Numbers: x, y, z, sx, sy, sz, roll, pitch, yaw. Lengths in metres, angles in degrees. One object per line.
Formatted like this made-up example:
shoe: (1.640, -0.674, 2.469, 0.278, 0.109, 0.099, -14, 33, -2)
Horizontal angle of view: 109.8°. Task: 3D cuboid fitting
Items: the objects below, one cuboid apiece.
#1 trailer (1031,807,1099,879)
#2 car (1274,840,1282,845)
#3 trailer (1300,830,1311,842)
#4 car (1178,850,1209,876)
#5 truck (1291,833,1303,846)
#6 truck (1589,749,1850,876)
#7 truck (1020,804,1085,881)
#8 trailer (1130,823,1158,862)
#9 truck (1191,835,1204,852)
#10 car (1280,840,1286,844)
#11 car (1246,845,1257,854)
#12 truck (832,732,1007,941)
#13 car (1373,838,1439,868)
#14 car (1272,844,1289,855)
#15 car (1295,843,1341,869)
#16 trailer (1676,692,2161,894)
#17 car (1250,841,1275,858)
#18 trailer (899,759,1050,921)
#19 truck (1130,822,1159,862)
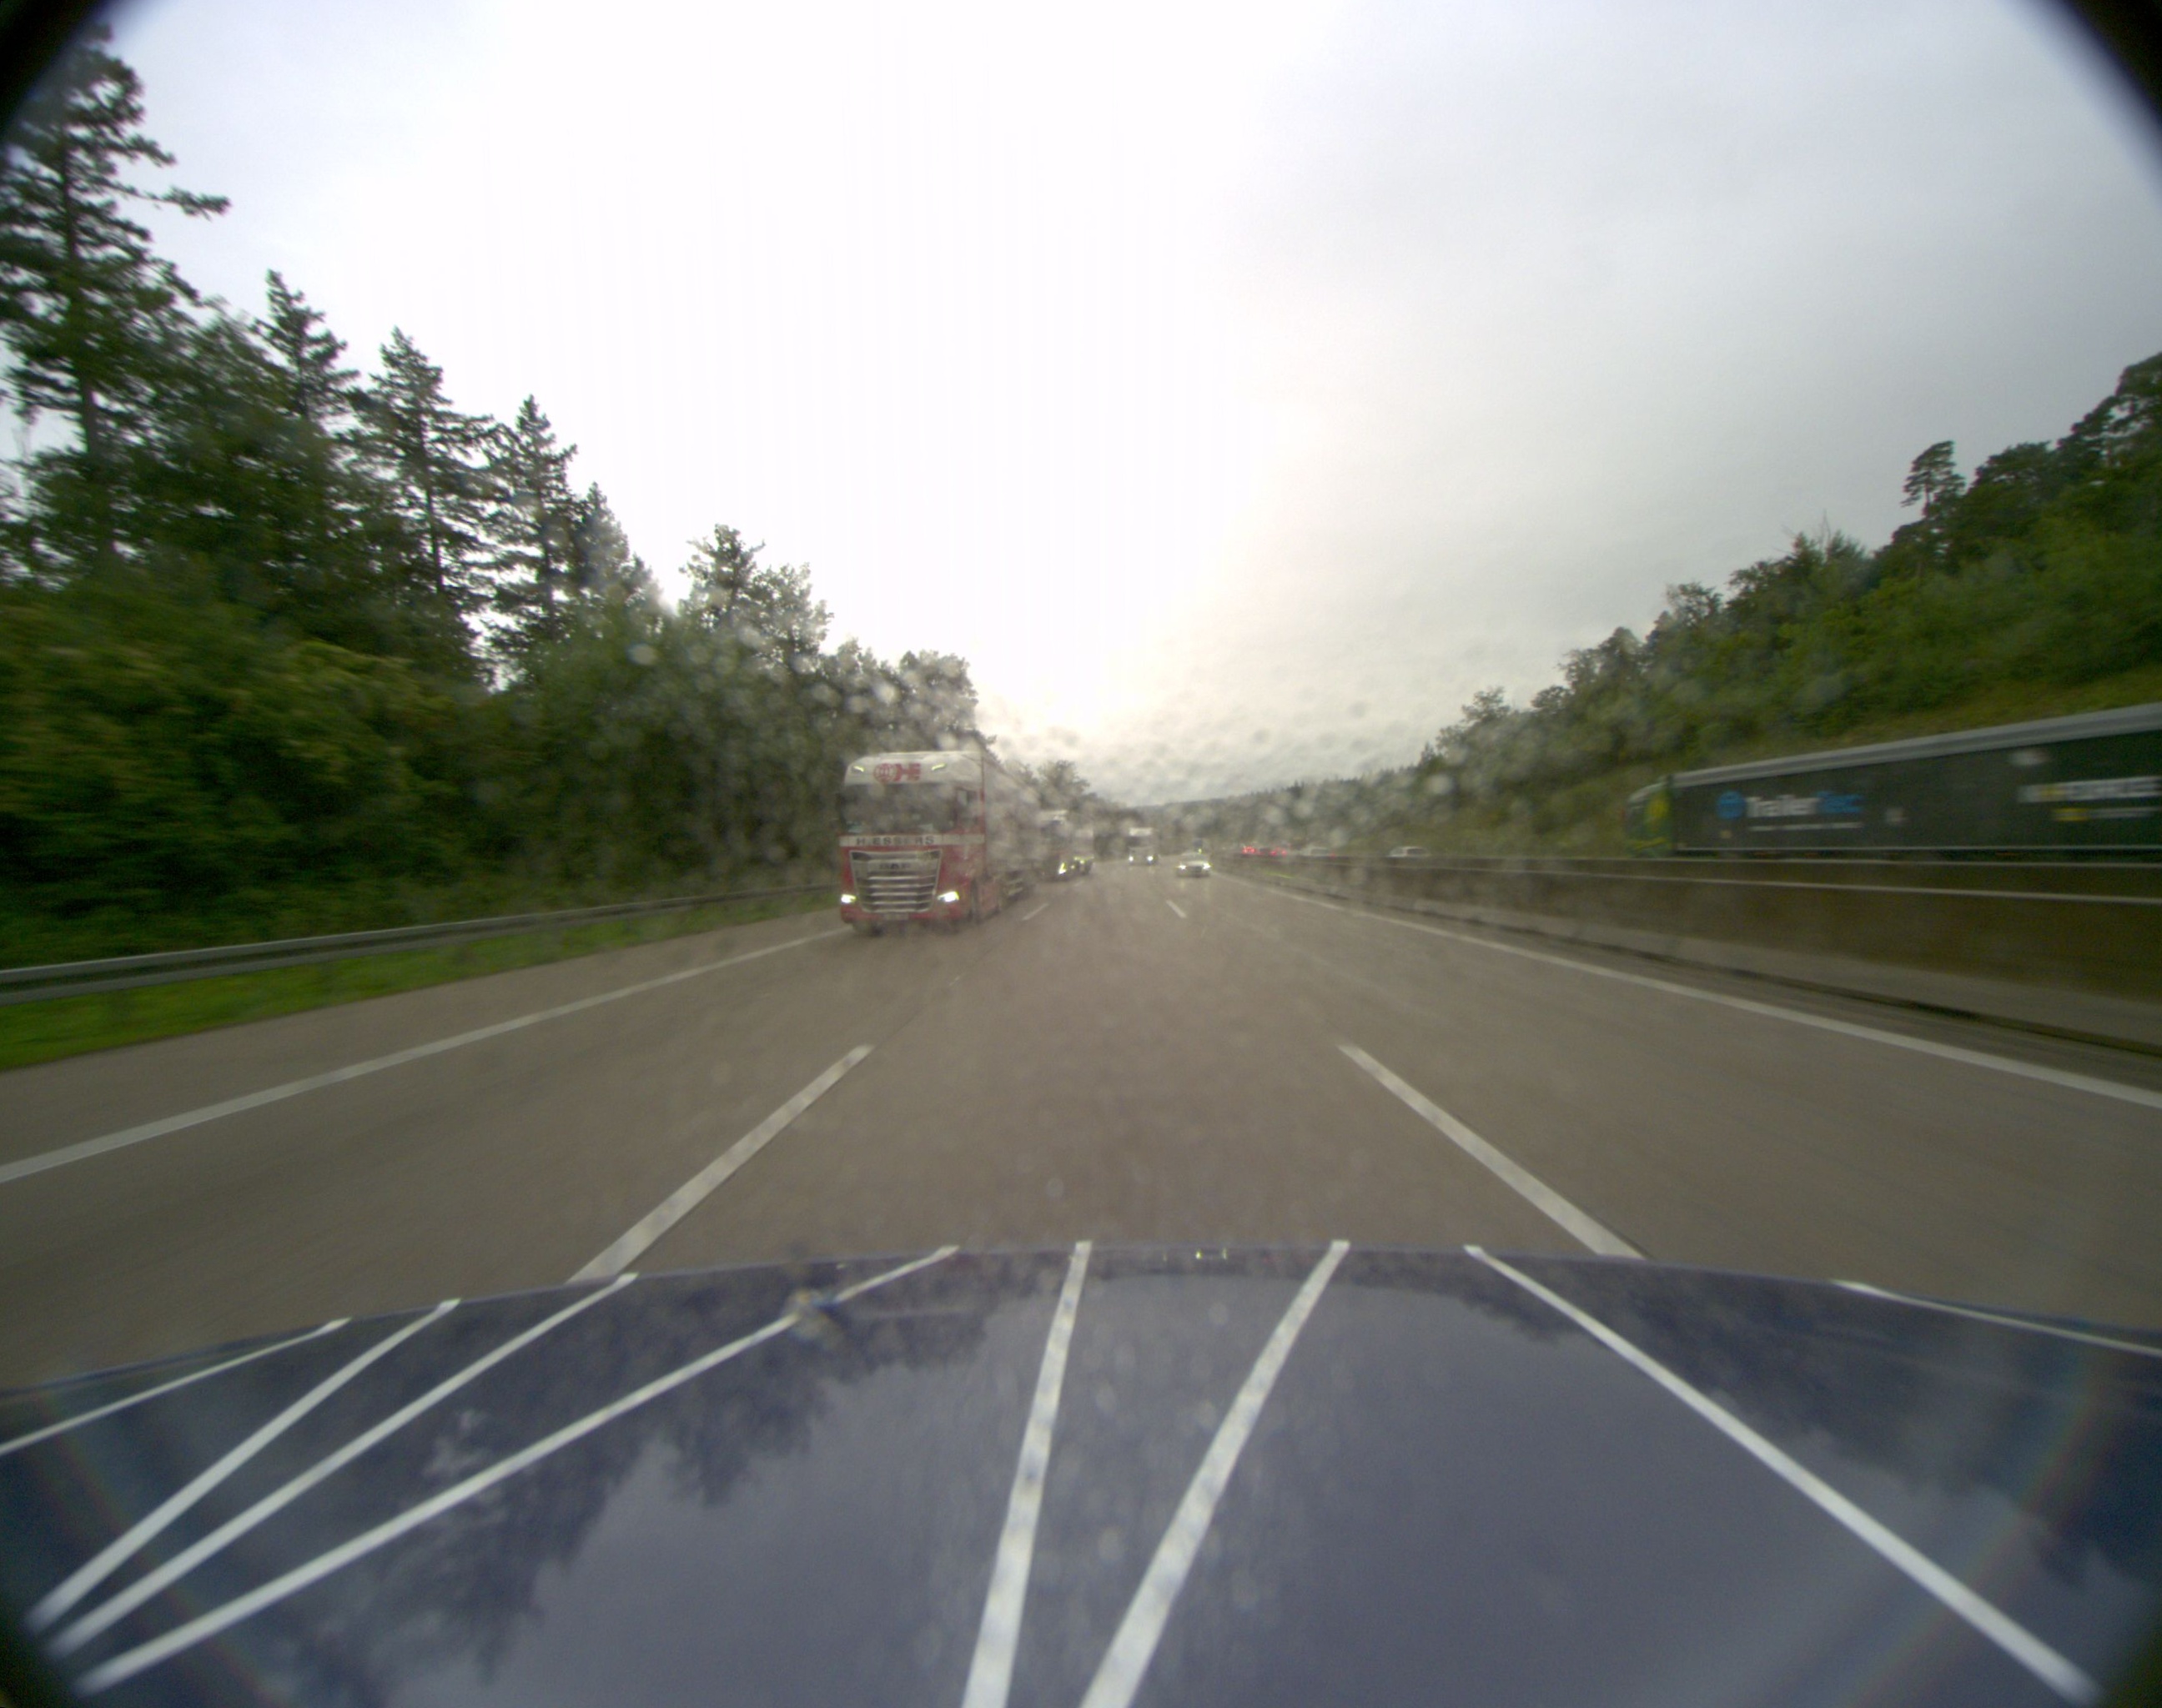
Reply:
trailer: (-0.786, -0.747, 51.155, 2.740, 4.080, 13.686, -2, 1, 6)
car: (51.286, -2.978, 197.926, 1.655, 1.338, 4.090, -2, 1, 17)
trailer: (76.753, -6.153, 259.327, 3.018, 3.852, 13.716, -2, 1, 18)
car: (6.754, 0.486, 45.969, 1.716, 1.399, 4.938, -2, 0, 7)
truck: (58.985, -4.034, 207.244, 2.625, 3.277, 9.393, -2, 1, 18)
truck: (22.887, -1.340, 28.066, 2.934, 3.938, 8.117, -2, 1, 1)
truck: (-1.546, -0.680, 44.244, 2.804, 4.080, 5.969, -2, 1, 6)
trailer: (7.395, -1.303, 89.901, 2.685, 4.017, 13.708, -4, 0, 4)
truck: (30.157, -2.579, 195.805, 2.735, 4.127, 8.628, -3, 0, 12)
car: (61.571, -3.682, 231.480, 1.807, 1.338, 4.771, -2, 1, 16)
car: (30.712, -0.881, 136.821, 1.744, 1.552, 4.287, -2, 0, 12)
truck: (-3.368, -0.313, 17.505, 2.380, 3.930, 6.161, -1, 0, 3)
car: (18.817, -0.072, 44.260, 1.998, 1.576, 4.772, -2, 1, 3)
car: (28.409, -0.639, 108.254, 1.577, 1.478, 4.285, -2, 0, 5)
car: (15.789, 0.112, 50.852, 1.998, 1.576, 4.773, -2, 1, 5)
trailer: (22.668, -1.284, 20.475, 2.934, 3.937, 13.463, -2, 1, 1)
car: (19.497, -0.488, 81.750, 1.997, 1.758, 4.539, -2, 1, 7)
trailer: (-2.903, -0.373, 25.096, 2.376, 3.931, 12.522, -2, 0, 3)
truck: (6.880, -1.270, 82.896, 2.727, 4.017, 5.754, -4, 0, 4)
